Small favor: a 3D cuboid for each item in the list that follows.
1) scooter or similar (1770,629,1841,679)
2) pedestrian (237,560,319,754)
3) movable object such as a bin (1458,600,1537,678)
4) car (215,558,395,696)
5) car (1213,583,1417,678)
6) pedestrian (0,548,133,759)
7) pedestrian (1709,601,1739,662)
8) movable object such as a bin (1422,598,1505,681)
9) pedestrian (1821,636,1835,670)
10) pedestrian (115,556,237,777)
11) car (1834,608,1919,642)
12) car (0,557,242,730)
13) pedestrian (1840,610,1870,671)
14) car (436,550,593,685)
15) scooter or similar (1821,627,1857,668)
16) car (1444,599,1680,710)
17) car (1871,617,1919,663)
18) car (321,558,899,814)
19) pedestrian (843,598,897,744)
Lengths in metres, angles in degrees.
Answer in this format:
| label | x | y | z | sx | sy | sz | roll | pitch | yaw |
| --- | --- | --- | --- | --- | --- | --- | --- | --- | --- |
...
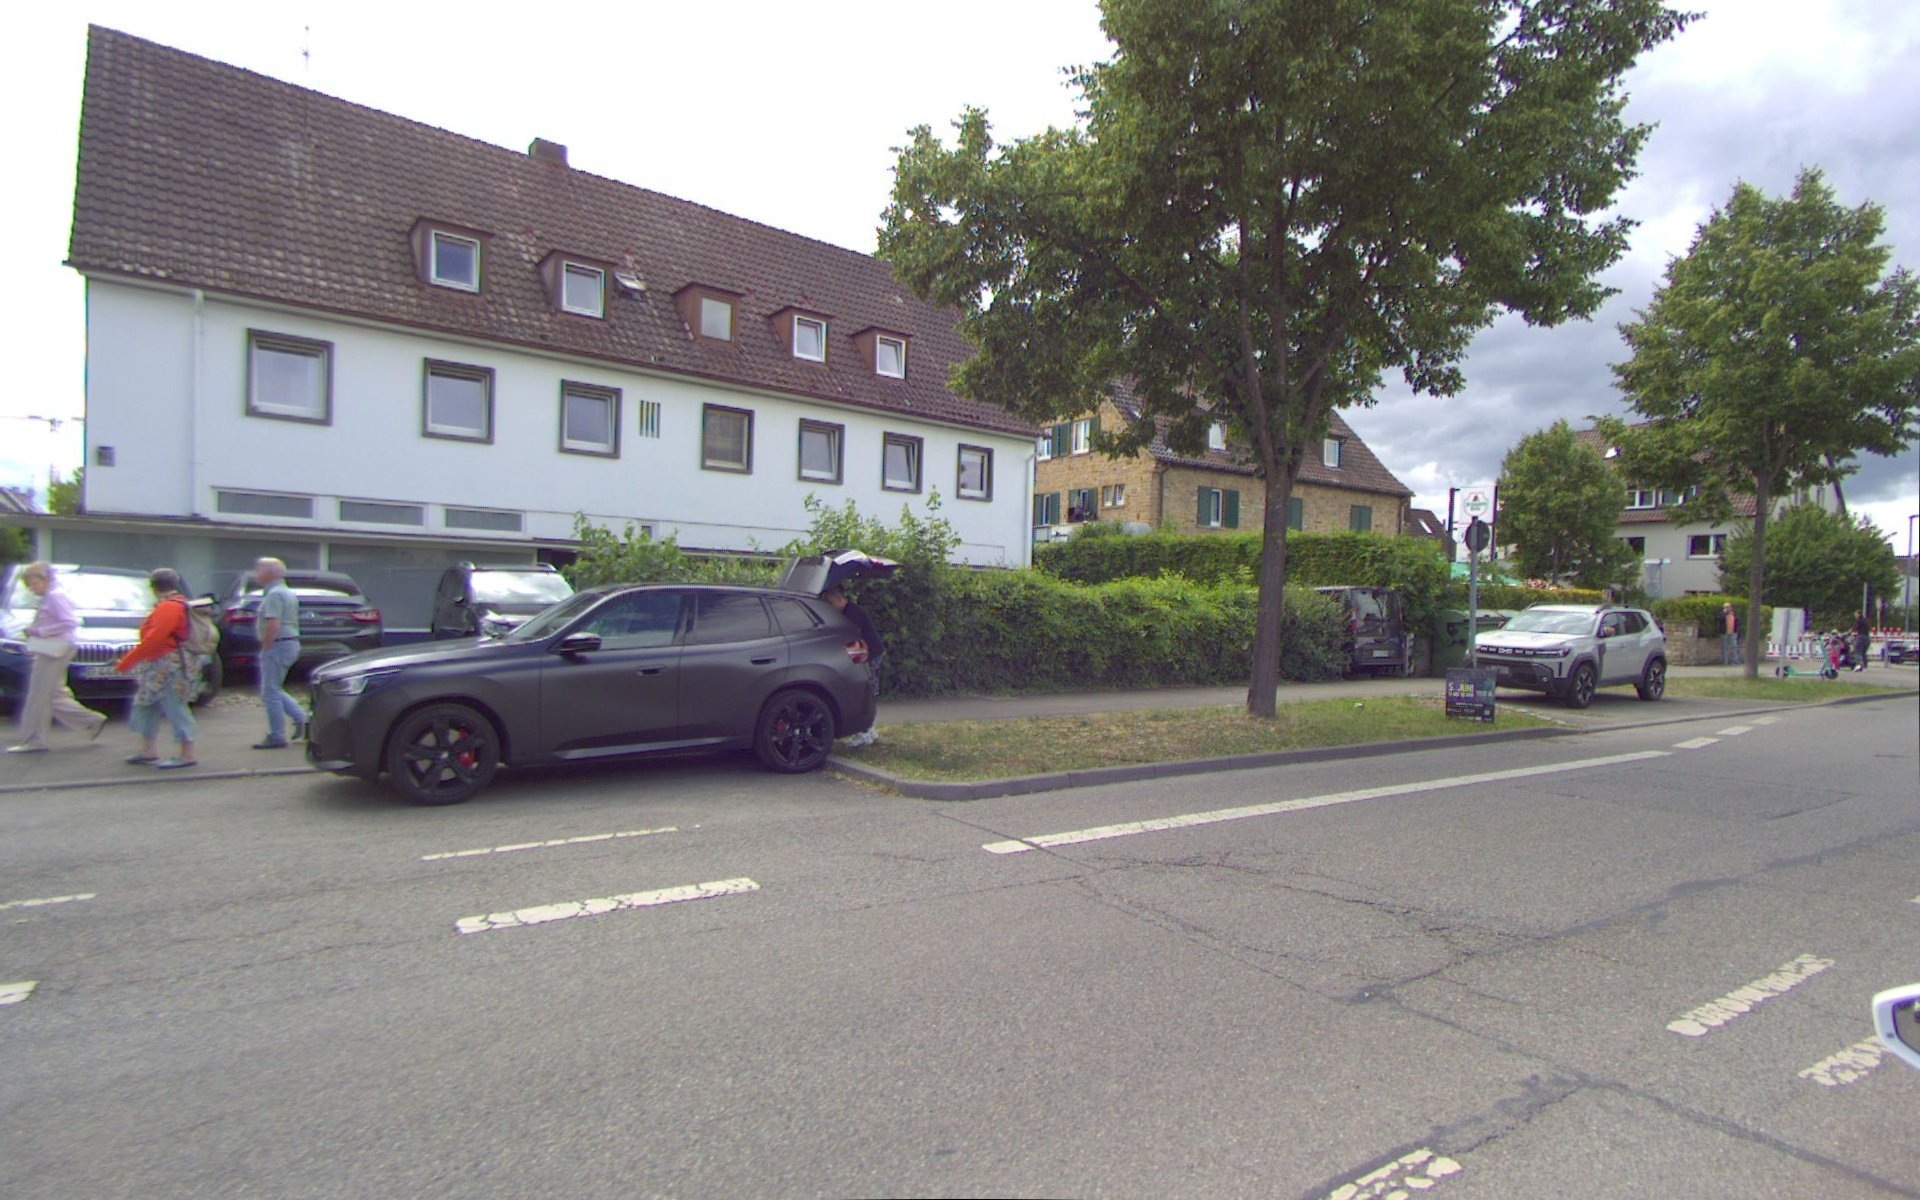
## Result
| label | x | y | z | sx | sy | sz | roll | pitch | yaw |
| --- | --- | --- | --- | --- | --- | --- | --- | --- | --- |
| scooter or similar | 20.646 | 1.311 | 24.539 | 1.264 | 1.154 | 0.347 | 1 | 0 | 28 |
| pedestrian | -6.312 | 0.497 | 9.323 | 0.585 | 1.686 | 0.782 | 1 | 3 | -33 |
| movable object such as a bin | 12.245 | 0.867 | 22.888 | 0.987 | 1.673 | 1.198 | 1 | 2 | -34 |
| car | -8.972 | 0.253 | 13.620 | 1.775 | 1.502 | 3.957 | 1 | 3 | -37 |
| car | 7.826 | 0.625 | 22.483 | 1.977 | 1.917 | 3.966 | 1 | 0 | -31 |
| pedestrian | -7.726 | 0.429 | 8.669 | 0.874 | 1.686 | 0.780 | 1 | 4 | -38 |
| pedestrian | 22.935 | 0.938 | 30.152 | 0.551 | 1.808 | 0.541 | 1 | 0 | 19 |
| movable object such as a bin | 10.936 | 0.839 | 21.841 | 0.987 | 1.673 | 1.198 | 1 | 2 | -34 |
| pedestrian | 23.947 | 1.457 | 27.714 | 0.234 | 0.906 | 0.259 | 1 | 0 | 27 |
| pedestrian | -6.438 | 0.507 | 8.267 | 0.748 | 1.686 | 0.780 | 1 | 3 | -38 |
| car | 46.501 | 1.238 | 50.503 | 1.580 | 1.632 | 3.574 | 1 | 0 | -28 |
| car | -9.911 | 0.338 | 11.351 | 4.462 | 1.574 | 2.025 | 3 | 1 | 42 |
| pedestrian | 25.295 | 1.127 | 28.392 | 0.474 | 1.692 | 0.515 | 1 | 0 | 25 |
| car | -6.621 | 0.202 | 15.284 | 1.841 | 1.714 | 3.981 | -3 | 1 | -21 |
| scooter or similar | 25.439 | 1.368 | 29.080 | 0.399 | 1.110 | 0.970 | 3 | 2 | 20 |
| car | 10.513 | 0.876 | 17.460 | 4.248 | 1.676 | 1.850 | 1 | 0 | -33 |
| car | 36.171 | 1.491 | 37.149 | 3.550 | 1.656 | 1.573 | 1 | 0 | 0 |
| car | -2.918 | 0.610 | 8.841 | 4.518 | 1.748 | 1.713 | 1 | 0 | -35 |
| pedestrian | -0.918 | 0.711 | 10.299 | 0.486 | 1.455 | 0.554 | 1 | 0 | 0 |
